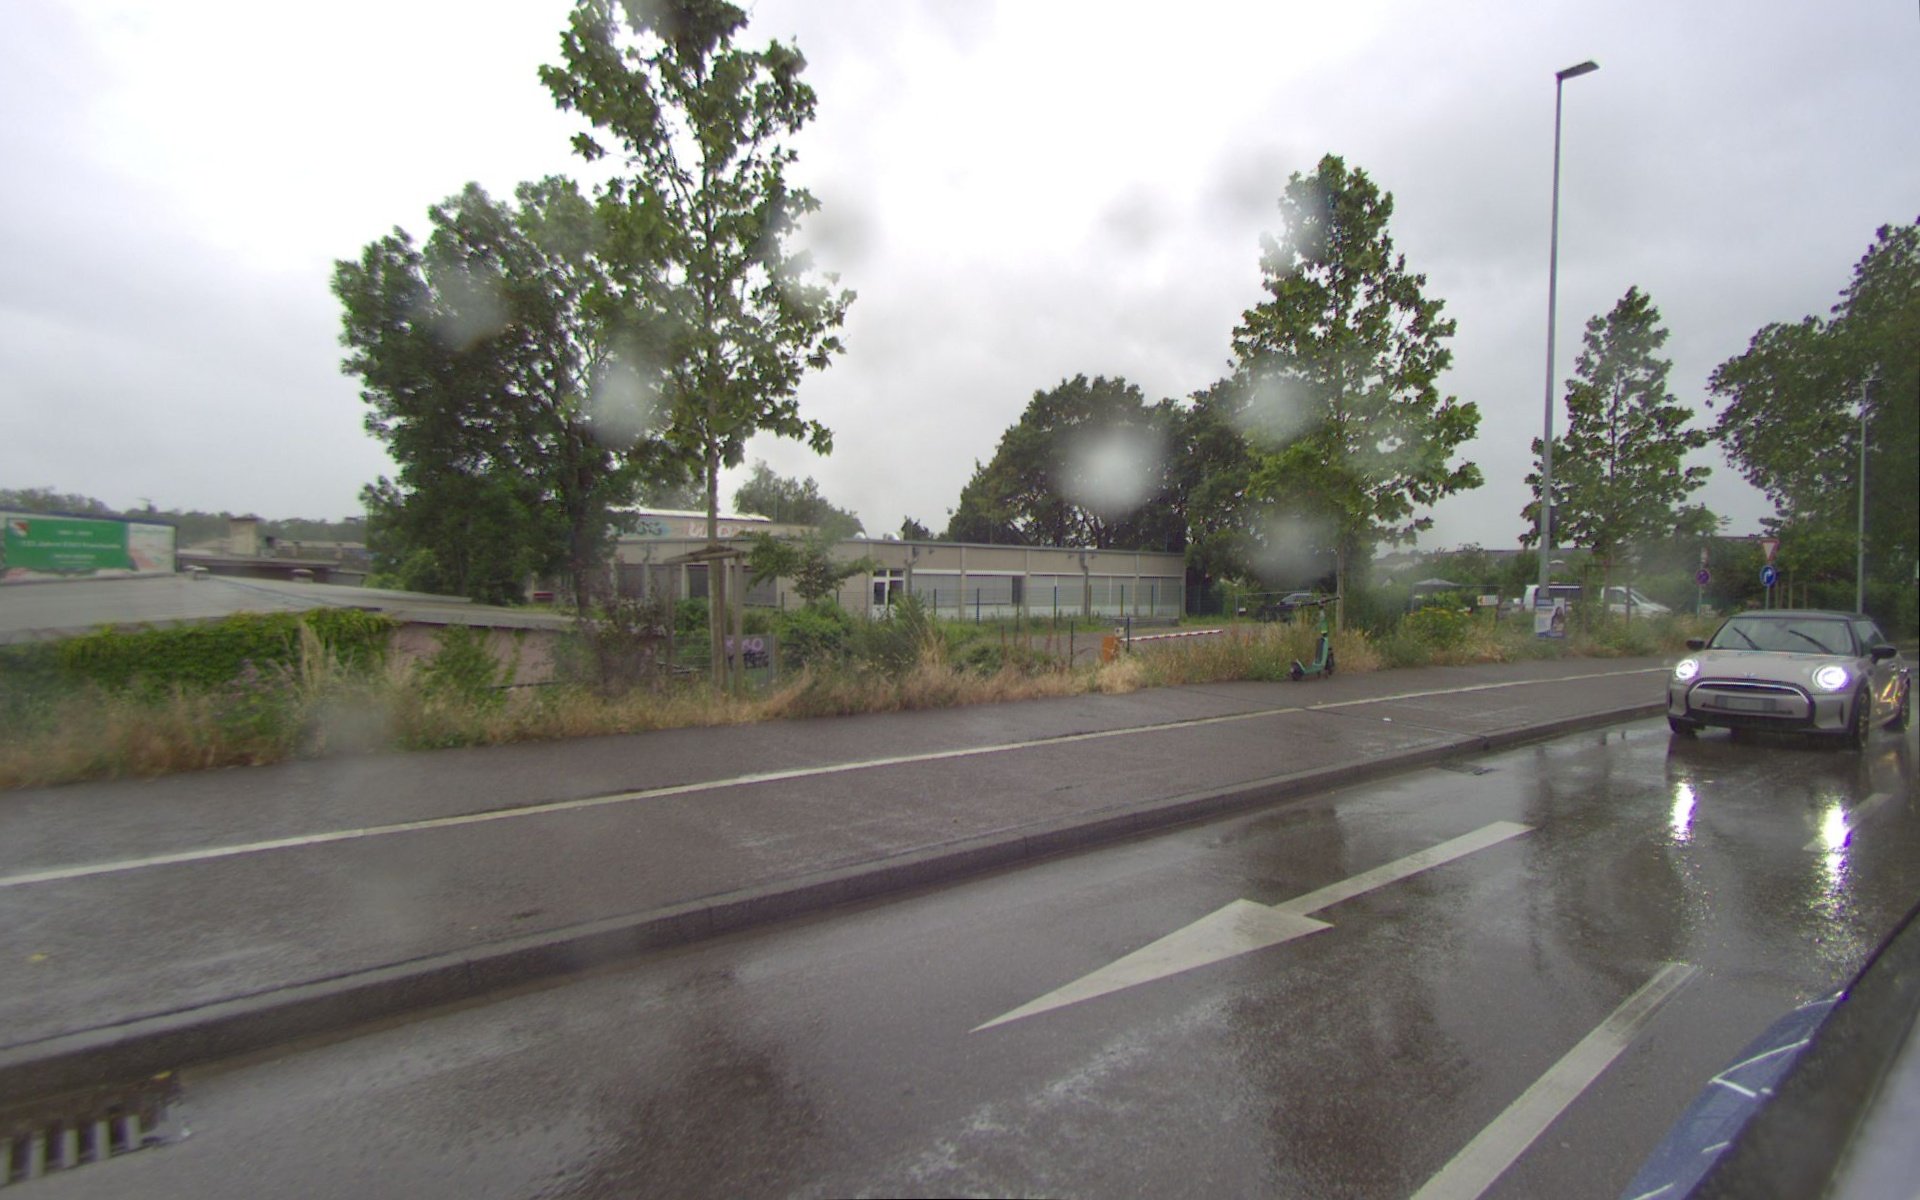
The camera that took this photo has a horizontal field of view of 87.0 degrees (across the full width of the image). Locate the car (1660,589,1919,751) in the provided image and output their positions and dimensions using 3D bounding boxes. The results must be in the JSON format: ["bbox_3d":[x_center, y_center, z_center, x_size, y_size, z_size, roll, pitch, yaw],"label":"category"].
[{"bbox_3d":[9.586,0.657,11.539,3.811,1.527,1.706,-1,0,-40],"label":"car"}]

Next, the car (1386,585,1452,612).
[{"bbox_3d":[28.259,-0.077,62.366,1.319,1.604,3.555,0,0,-35],"label":"car"}]

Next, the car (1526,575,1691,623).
[{"bbox_3d":[25.530,-0.048,39.983,1.972,1.747,5.168,-1,0,-42],"label":"car"}]

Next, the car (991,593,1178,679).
[{"bbox_3d":[2.022,0.553,17.168,1.319,1.304,3.246,0,0,-35],"label":"car"}]

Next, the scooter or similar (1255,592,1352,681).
[{"bbox_3d":[5.004,0.499,14.685,1.878,1.214,0.367,0,0,-38],"label":"scooter or similar"}]
